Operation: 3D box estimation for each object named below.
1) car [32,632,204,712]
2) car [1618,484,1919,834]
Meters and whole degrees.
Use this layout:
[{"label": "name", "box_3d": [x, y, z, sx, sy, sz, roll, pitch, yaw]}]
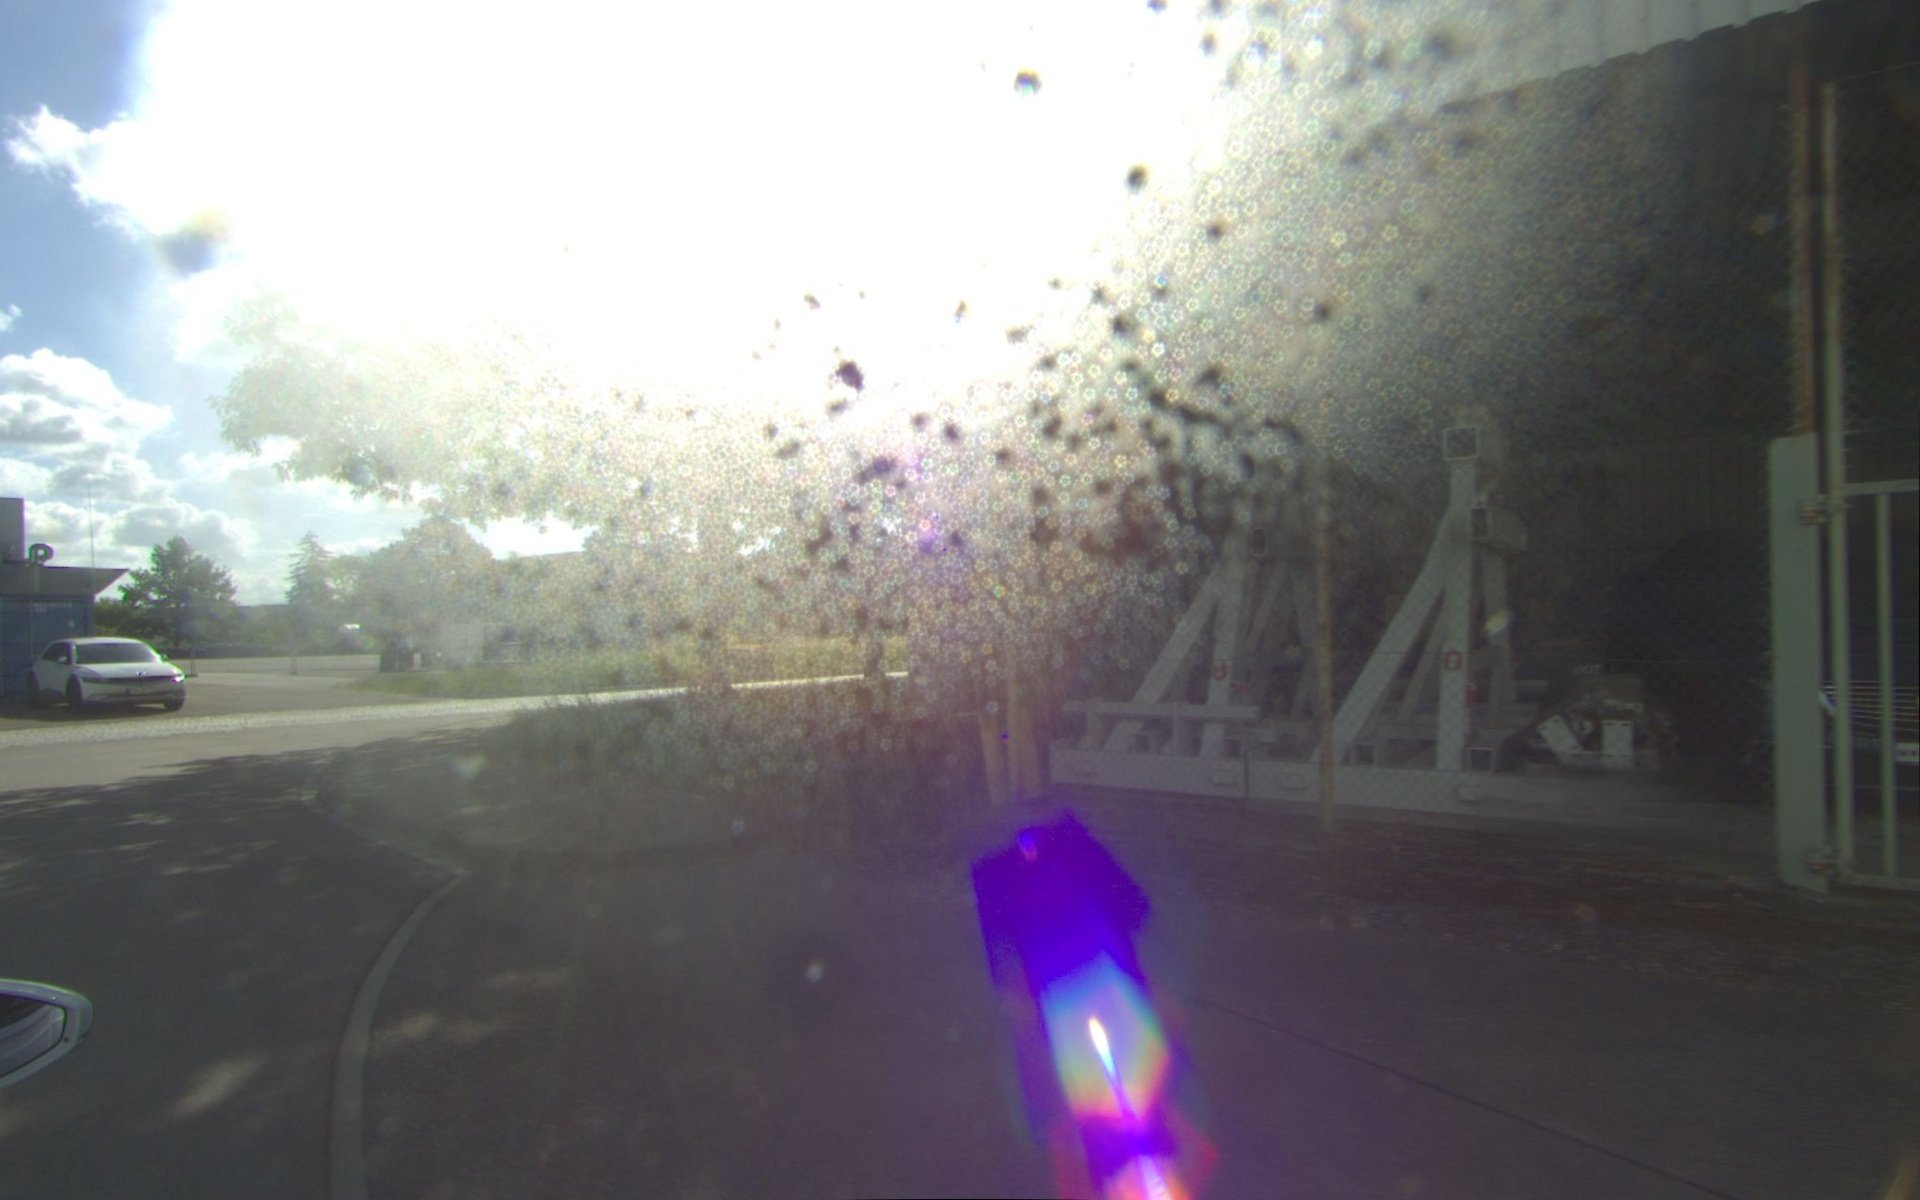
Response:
[{"label": "car", "box_3d": [-19.321, 1.564, 22.929, 4.281, 1.614, 1.976, 0, -1, 35]}, {"label": "car", "box_3d": [6.695, 0.357, 7.763, 2.245, 1.943, 5.160, -2, -2, 29]}]
